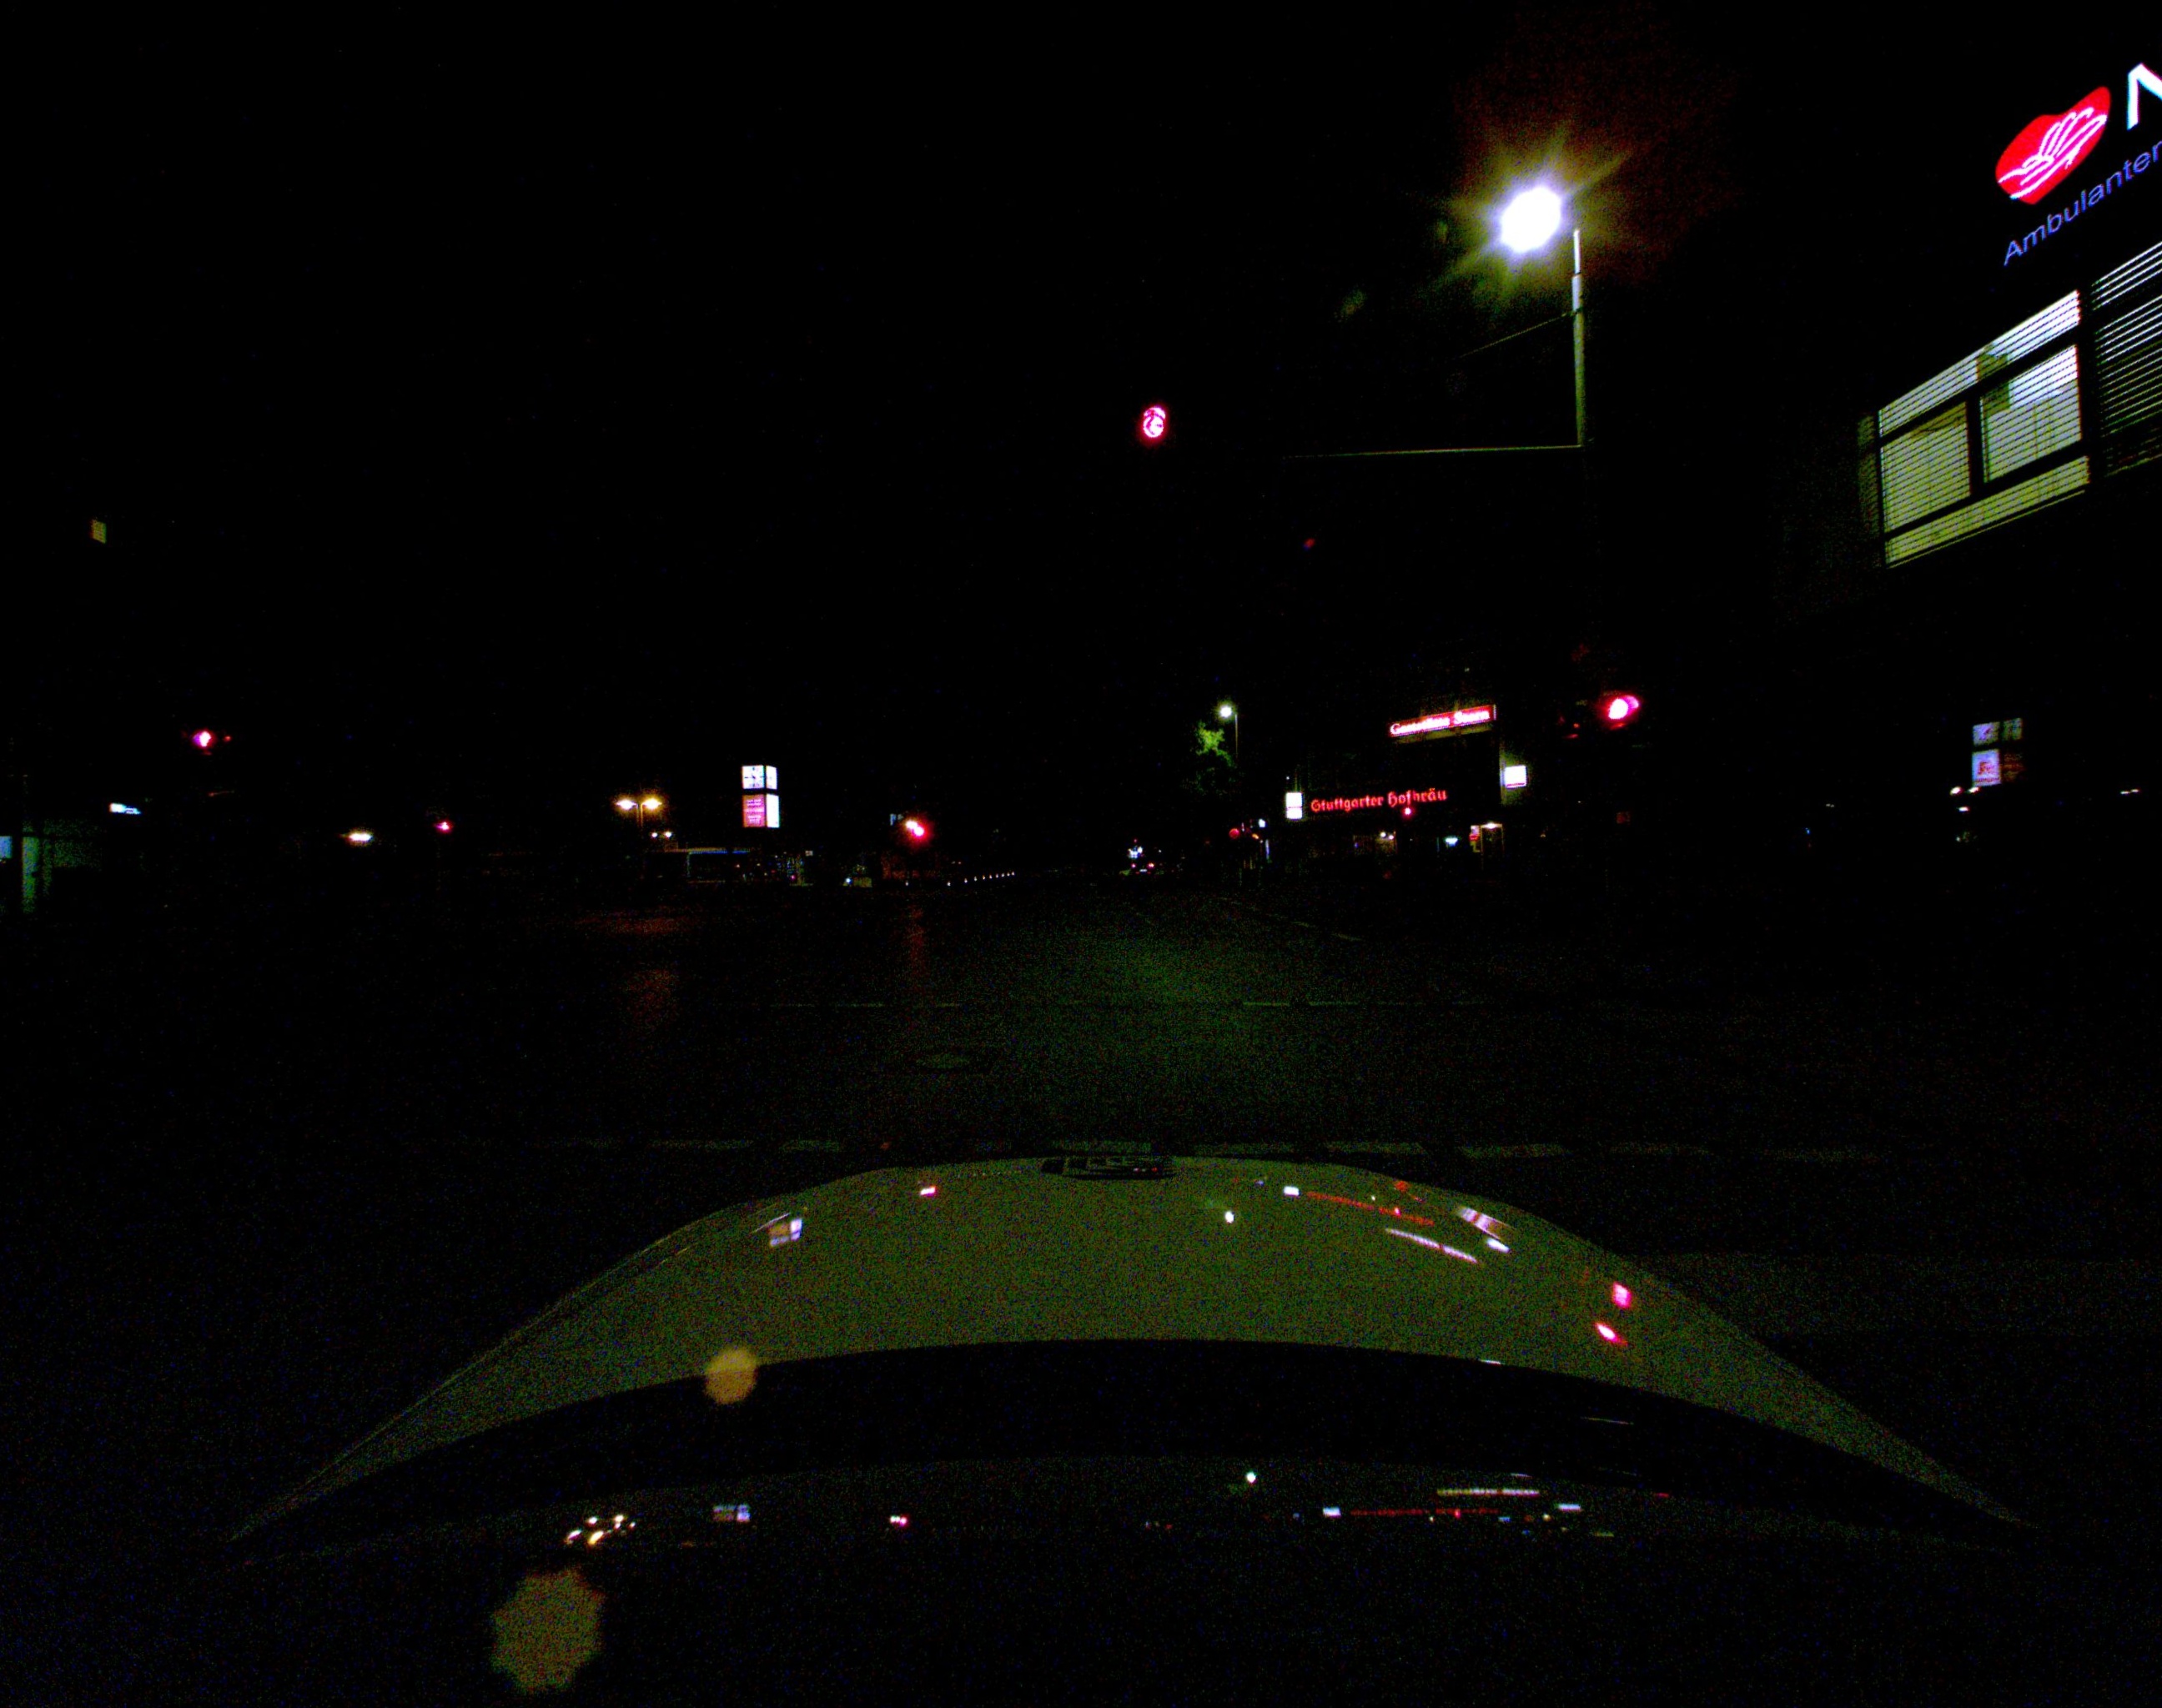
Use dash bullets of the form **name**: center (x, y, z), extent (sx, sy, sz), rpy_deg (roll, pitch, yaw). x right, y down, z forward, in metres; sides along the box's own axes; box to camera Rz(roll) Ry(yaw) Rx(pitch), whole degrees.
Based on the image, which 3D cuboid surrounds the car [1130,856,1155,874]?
- **car**: center (5.064, 0.871, 66.340), extent (1.864, 1.454, 4.323), rpy_deg (0, -1, 6)

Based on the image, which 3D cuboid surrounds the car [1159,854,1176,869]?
- **car**: center (10.045, 0.894, 94.454), extent (1.868, 1.683, 4.005), rpy_deg (-2, -1, 5)

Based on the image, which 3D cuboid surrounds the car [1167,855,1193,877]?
- **car**: center (7.696, 0.927, 63.483), extent (1.868, 1.615, 4.005), rpy_deg (-2, -1, 5)

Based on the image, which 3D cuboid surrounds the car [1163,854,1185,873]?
- **car**: center (8.676, 0.876, 76.437), extent (1.868, 1.729, 4.005), rpy_deg (-2, -1, 5)

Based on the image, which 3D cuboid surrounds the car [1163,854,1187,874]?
- **car**: center (7.882, 0.830, 68.781), extent (1.868, 1.615, 4.005), rpy_deg (-2, -1, 5)
